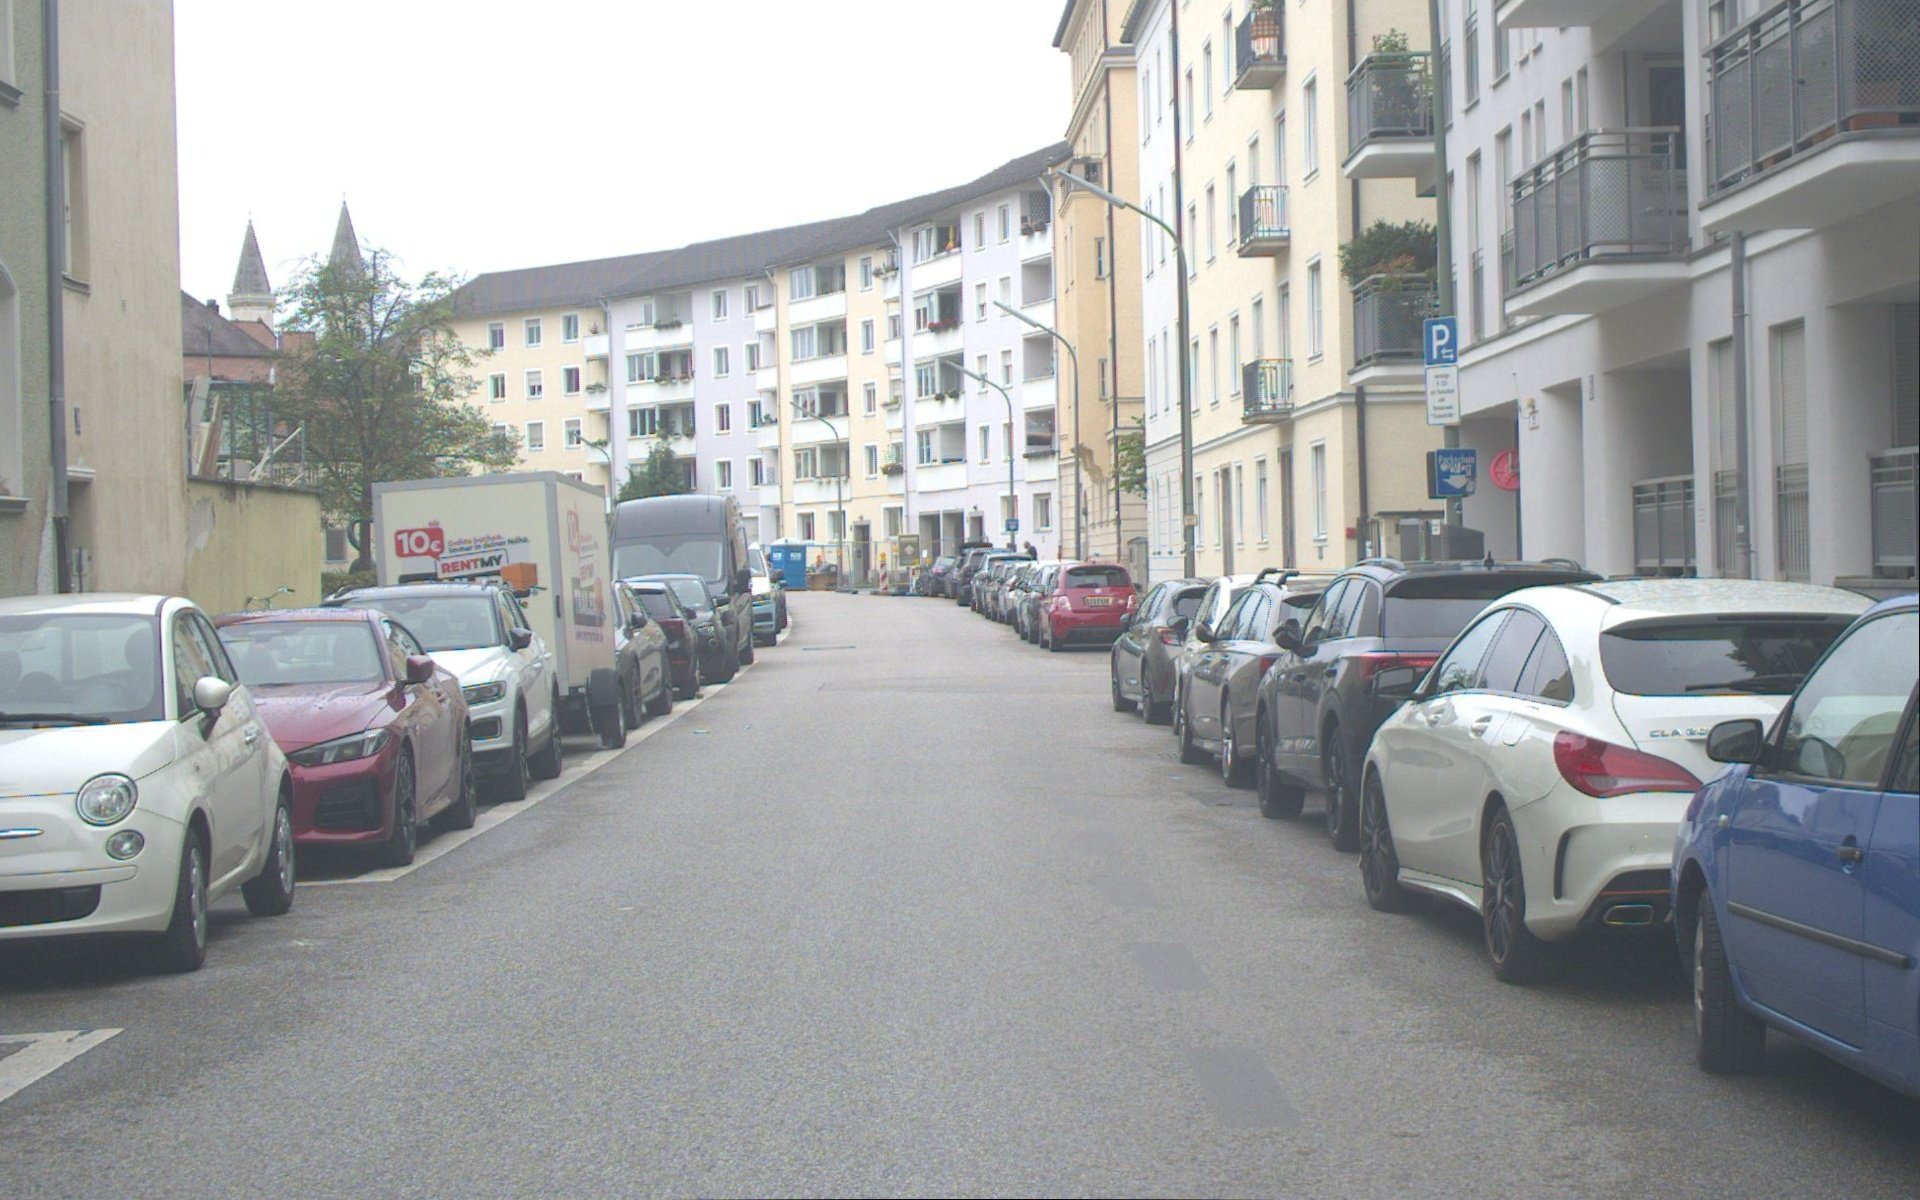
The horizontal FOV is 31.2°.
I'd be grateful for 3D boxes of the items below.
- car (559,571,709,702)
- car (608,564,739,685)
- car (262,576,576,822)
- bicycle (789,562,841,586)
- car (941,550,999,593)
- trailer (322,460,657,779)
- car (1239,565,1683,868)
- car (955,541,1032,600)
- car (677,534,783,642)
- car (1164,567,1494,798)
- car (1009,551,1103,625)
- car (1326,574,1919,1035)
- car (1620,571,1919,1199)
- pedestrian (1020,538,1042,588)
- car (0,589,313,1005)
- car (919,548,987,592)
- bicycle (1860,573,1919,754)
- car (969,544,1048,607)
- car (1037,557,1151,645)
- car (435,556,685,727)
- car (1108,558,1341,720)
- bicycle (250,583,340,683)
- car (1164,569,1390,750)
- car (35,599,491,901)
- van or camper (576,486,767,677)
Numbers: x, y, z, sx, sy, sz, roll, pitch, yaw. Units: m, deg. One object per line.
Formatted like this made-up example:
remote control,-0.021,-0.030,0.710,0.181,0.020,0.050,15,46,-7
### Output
car,-4.014,0.418,42.868,1.675,1.431,4.287,-3,1,-4
car,-3.942,0.307,47.469,1.652,1.492,3.910,-3,1,-4
car,-3.862,0.649,25.126,1.679,1.525,4.107,-2,1,-1
bicycle,-6.826,-1.226,161.588,2.232,1.066,0.919,-1,1,-26
car,0.332,-0.966,115.083,1.630,1.412,3.680,0,1,-5
trailer,-4.031,0.129,30.258,1.976,2.463,4.576,-4,1,3
car,2.721,0.576,19.556,1.837,1.527,4.022,0,1,-1
car,0.990,-0.923,104.884,2.169,1.733,5.024,0,1,-2
car,-4.419,-0.267,65.576,1.914,1.953,4.962,-1,1,-5
car,2.583,0.525,25.081,1.791,1.477,4.604,-1,1,-1
car,2.056,-0.278,74.509,1.650,1.538,3.994,0,1,-4
car,2.608,0.648,13.354,1.664,1.462,4.377,0,1,-3
car,2.975,0.660,8.923,1.715,1.418,3.720,0,1,-1
pedestrian,2.472,-1.283,119.721,0.617,1.684,0.919,-4,1,-2
car,-3.823,0.732,14.329,1.626,1.462,3.521,-2,1,-1
car,-0.270,-1.079,121.337,1.908,1.472,4.947,0,1,-6
bicycle,6.252,0.393,21.712,0.569,1.094,1.810,-5,1,0
car,1.312,-0.698,94.419,1.846,1.658,4.499,0,1,-3
car,2.269,-0.011,59.031,1.654,1.425,3.756,0,1,-2
car,-4.089,0.373,35.961,1.863,1.536,5.091,-3,1,1
car,2.603,0.342,34.703,1.771,1.470,4.218,-1,1,-3
bicycle,-8.437,0.405,43.691,0.802,1.229,1.868,-2,0,-2
car,2.758,0.482,30.584,1.617,1.462,3.747,0,1,-1
car,-3.818,0.758,19.558,1.745,1.363,4.403,-2,1,-1
van or camper,-4.328,-0.317,52.490,2.293,2.642,5.561,-3,1,0
